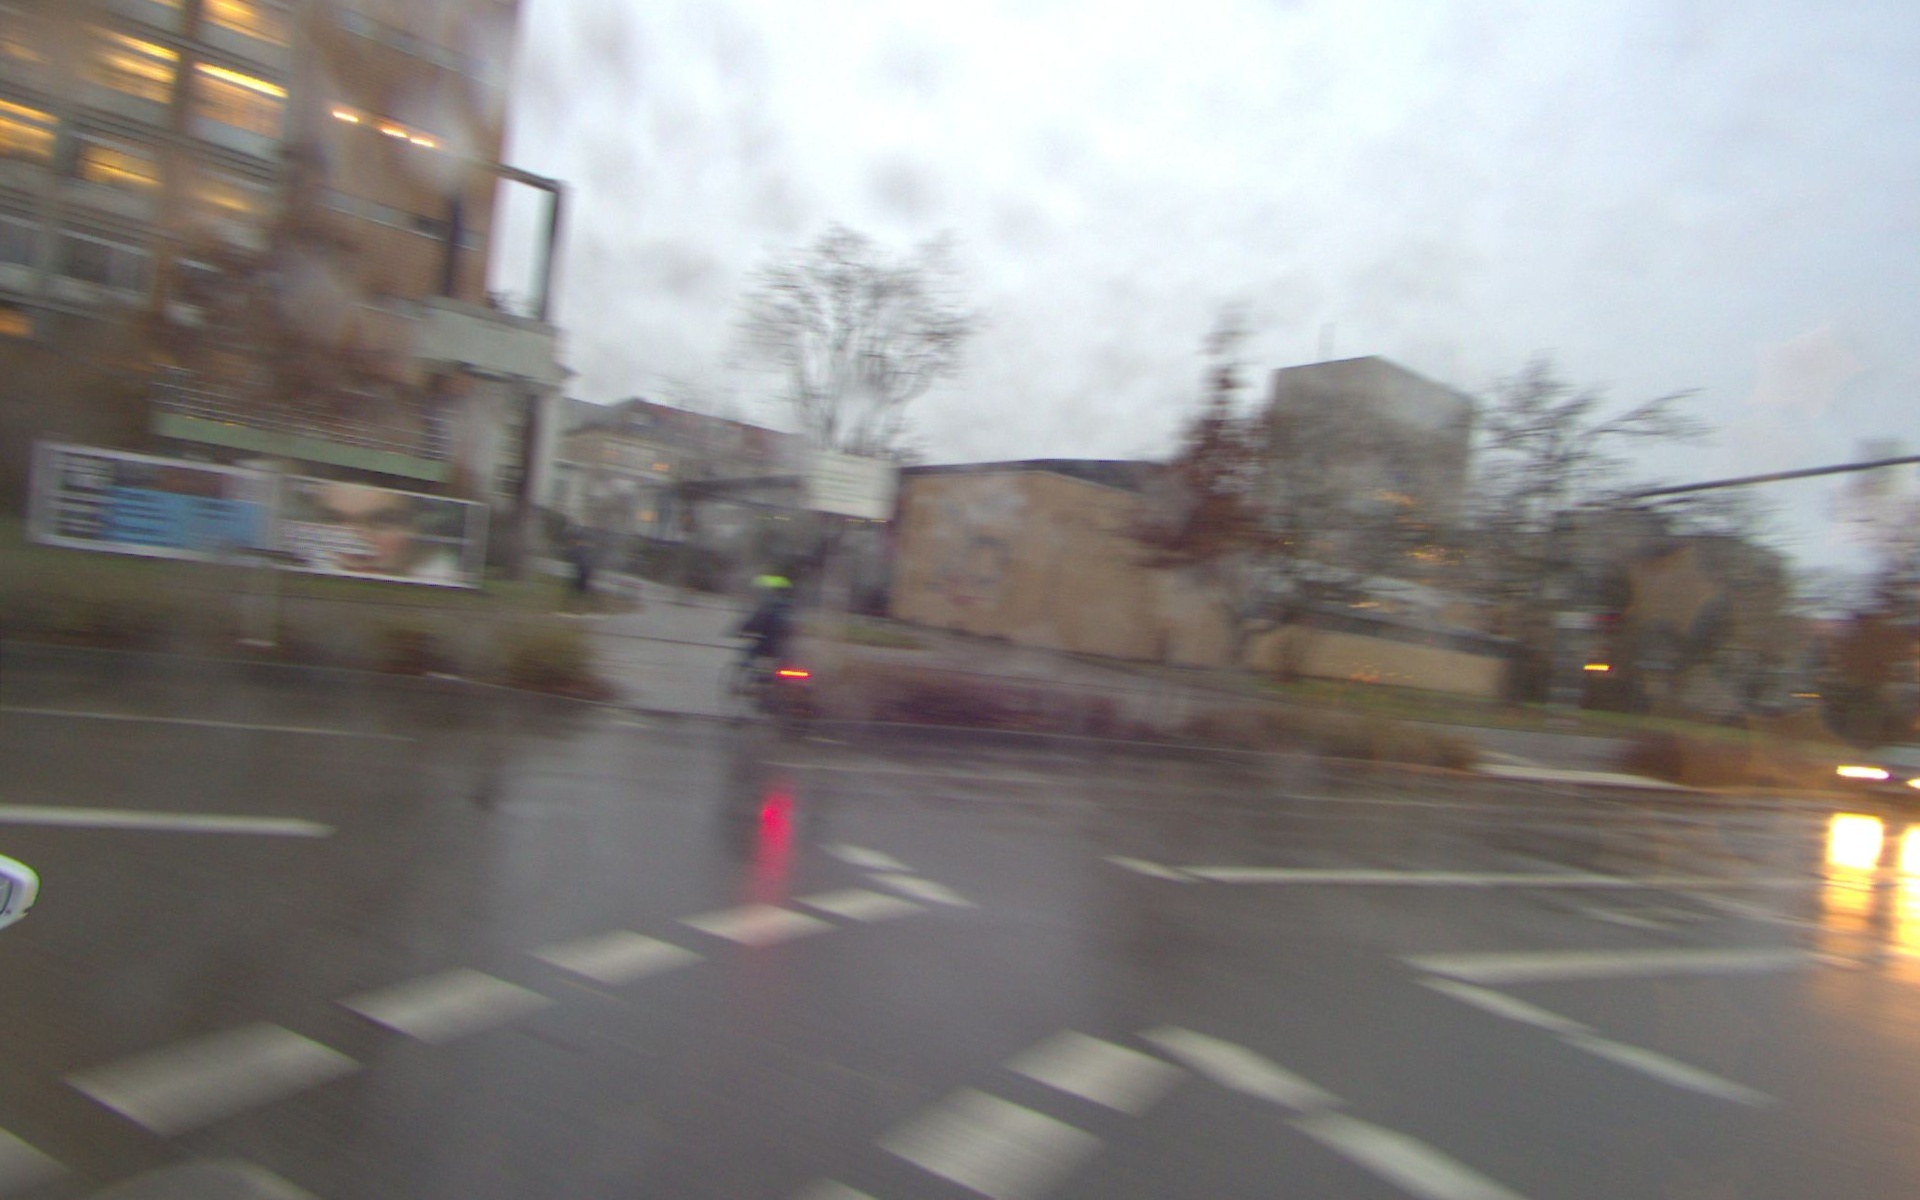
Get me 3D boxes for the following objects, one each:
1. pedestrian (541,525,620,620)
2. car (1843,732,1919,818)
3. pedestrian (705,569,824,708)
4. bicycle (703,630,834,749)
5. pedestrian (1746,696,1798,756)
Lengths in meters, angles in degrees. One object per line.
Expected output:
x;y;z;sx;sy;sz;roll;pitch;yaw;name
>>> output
-7.591;-0.540;20.142;0.897;1.709;0.926;11;2;31;pedestrian
20.844;3.790;21.338;4.422;1.505;1.760;7;1;-31;car
-2.099;0.405;10.762;0.869;1.334;0.840;6;2;-34;pedestrian
-2.129;0.933;10.931;0.558;0.959;2.076;6;1;-33;bicycle
27.352;4.243;33.904;0.825;1.849;0.925;6;2;-30;pedestrian
